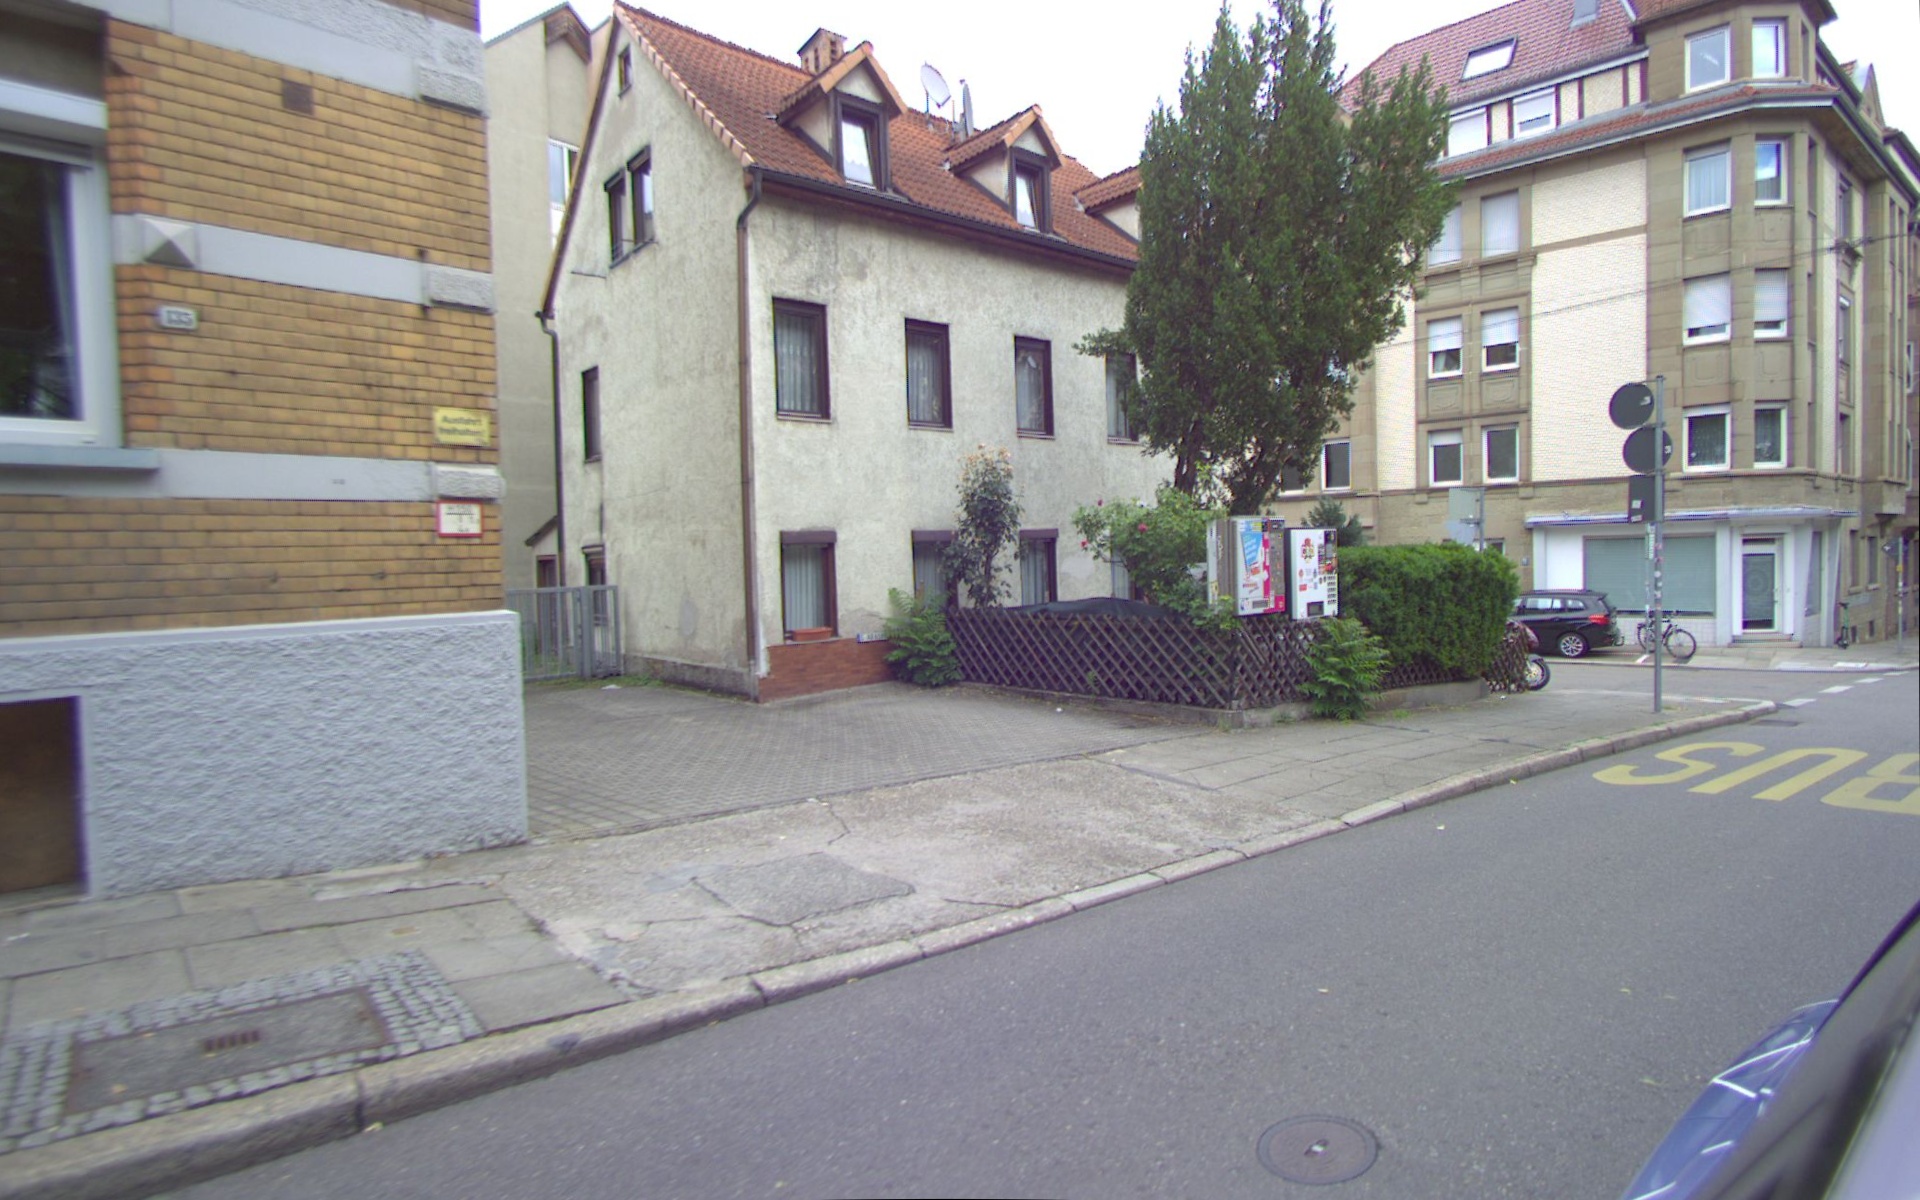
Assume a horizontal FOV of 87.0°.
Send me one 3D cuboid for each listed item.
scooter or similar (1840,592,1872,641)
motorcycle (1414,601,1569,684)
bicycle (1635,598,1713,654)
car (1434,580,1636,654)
[{"bbox_3d":[23.745,0.432,26.819,1.124,1.225,0.411,4,0,-40],"label":"scooter or similar"},{"bbox_3d":[8.752,0.669,16.726,0.993,1.284,2.057,0,-1,-43],"label":"motorcycle"},{"bbox_3d":[17.528,0.611,24.909,0.630,1.153,2.073,-3,4,7],"label":"bicycle"},{"bbox_3d":[15.020,0.410,26.571,4.357,1.665,1.762,-1,4,40],"label":"car"}]
